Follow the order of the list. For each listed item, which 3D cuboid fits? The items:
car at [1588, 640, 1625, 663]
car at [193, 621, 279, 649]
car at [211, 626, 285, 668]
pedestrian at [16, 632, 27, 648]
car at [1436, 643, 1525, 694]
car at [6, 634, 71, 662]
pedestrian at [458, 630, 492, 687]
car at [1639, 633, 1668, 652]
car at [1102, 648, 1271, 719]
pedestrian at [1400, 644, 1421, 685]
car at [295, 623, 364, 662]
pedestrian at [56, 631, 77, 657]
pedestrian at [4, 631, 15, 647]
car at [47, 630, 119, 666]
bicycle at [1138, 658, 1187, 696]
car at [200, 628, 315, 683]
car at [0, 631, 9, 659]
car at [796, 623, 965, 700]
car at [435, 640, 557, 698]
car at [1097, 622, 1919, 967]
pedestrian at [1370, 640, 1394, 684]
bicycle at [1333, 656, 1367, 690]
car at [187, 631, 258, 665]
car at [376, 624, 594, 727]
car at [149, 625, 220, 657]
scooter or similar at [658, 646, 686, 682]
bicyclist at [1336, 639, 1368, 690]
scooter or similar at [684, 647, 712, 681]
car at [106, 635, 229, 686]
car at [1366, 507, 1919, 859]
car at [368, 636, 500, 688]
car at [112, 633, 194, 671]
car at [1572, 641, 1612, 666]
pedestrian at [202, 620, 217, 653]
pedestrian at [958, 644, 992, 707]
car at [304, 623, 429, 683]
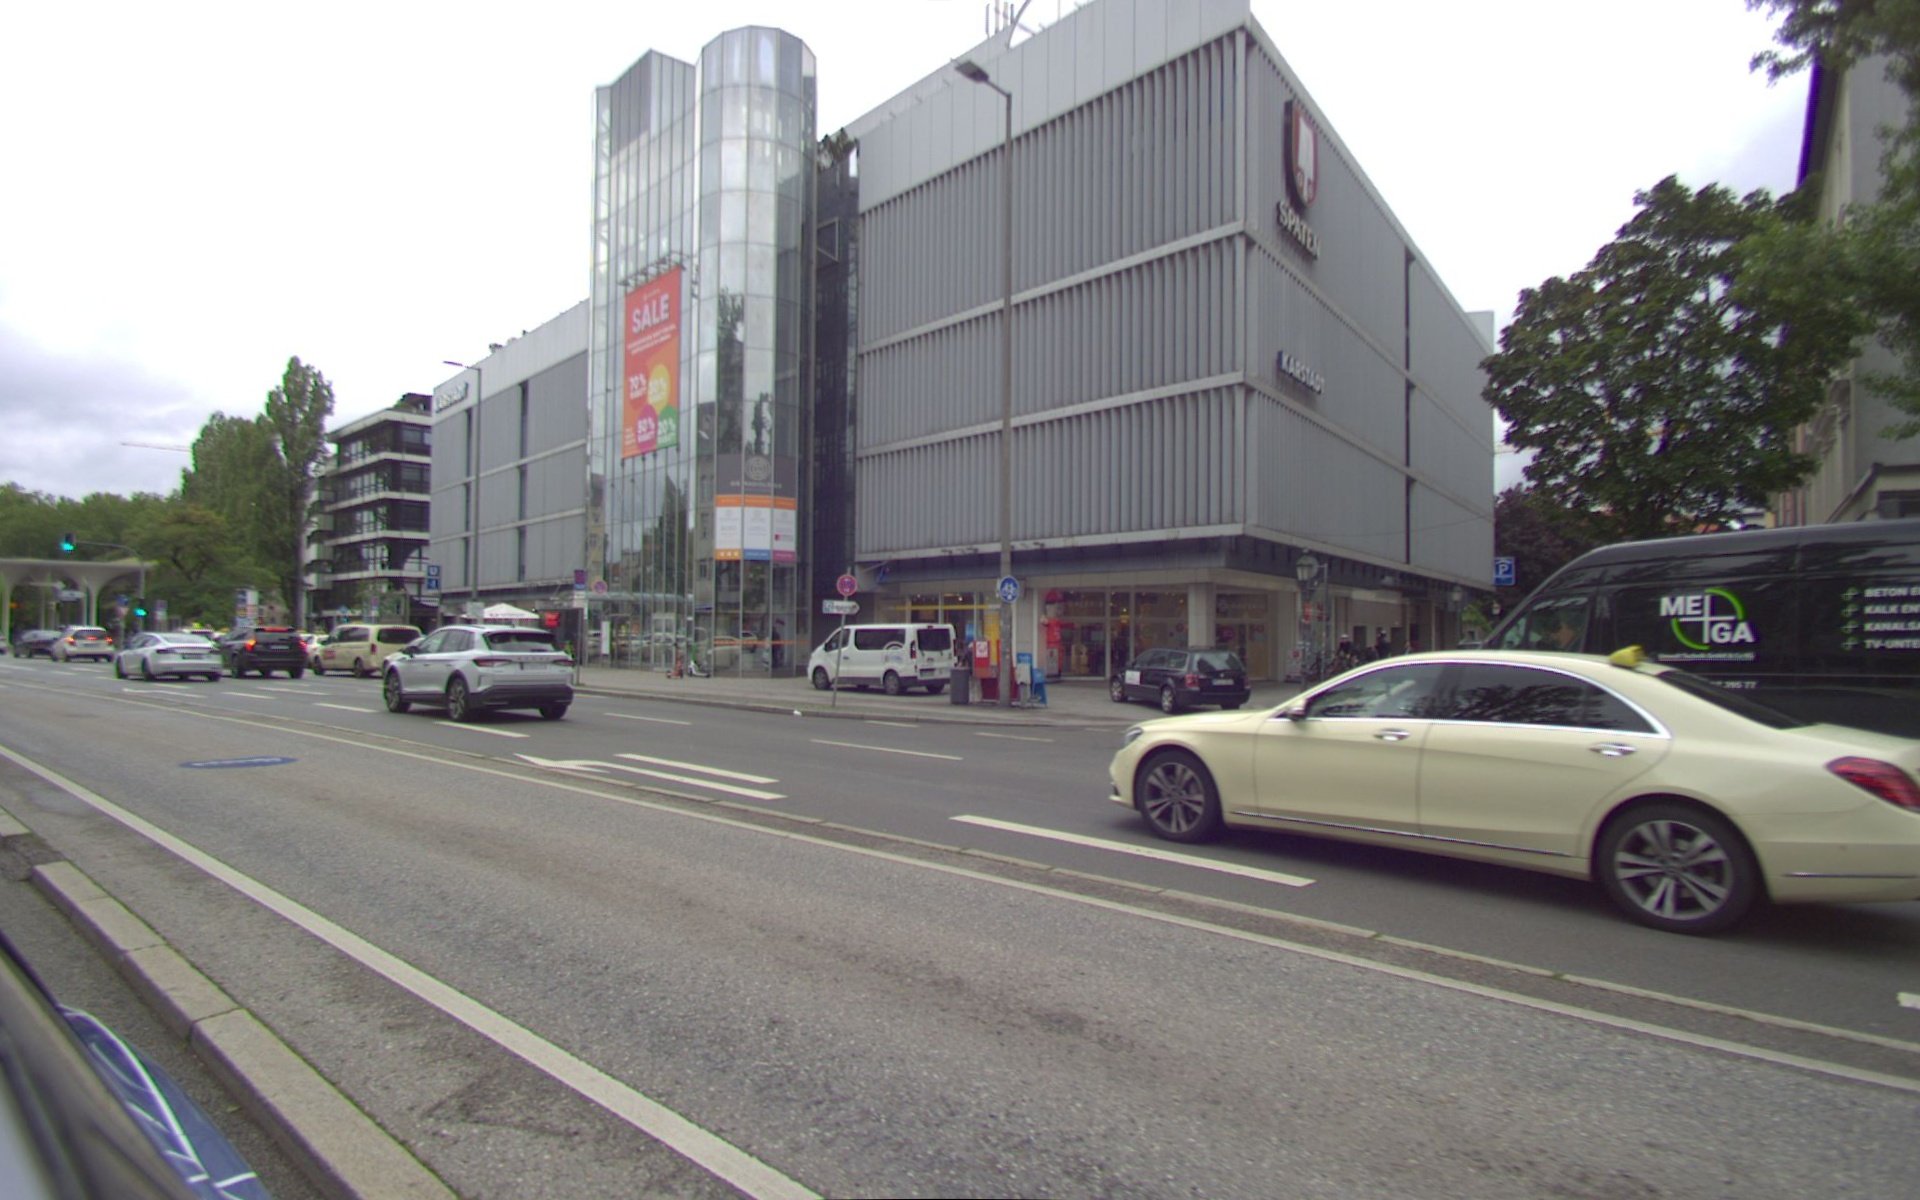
[{"bbox_3d":[47.980,3.803,75.052,1.850,1.674,4.181,-1,-3,39],"label":"car"},{"bbox_3d":[-40.590,1.987,56.744,4.266,1.522,1.847,-1,-2,21],"label":"car"},{"bbox_3d":[-31.060,2.029,44.100,1.863,1.711,4.385,4,-4,-44],"label":"car"},{"bbox_3d":[-78.436,3.375,84.576,0.590,1.348,0.543,-1,-3,34],"label":"pedestrian"},{"bbox_3d":[18.758,2.404,36.389,1.998,1.674,4.181,-1,-3,39],"label":"car"},{"bbox_3d":[-48.069,2.468,52.779,4.681,1.420,1.712,-2,-3,38],"label":"car"},{"bbox_3d":[-16.384,1.987,34.189,0.776,1.881,0.848,4,-4,-41],"label":"pedestrian"},{"bbox_3d":[64.503,3.967,94.144,1.850,1.674,4.181,-1,-3,39],"label":"car"},{"bbox_3d":[5.151,1.882,23.693,1.895,1.450,4.520,1,-3,-16],"label":"car"},{"bbox_3d":[17.006,2.432,38.163,0.612,1.517,0.558,-1,-3,36],"label":"pedestrian"},{"bbox_3d":[-27.567,1.858,44.205,1.751,1.628,4.003,3,-3,-44],"label":"car"},{"bbox_3d":[-55.358,2.709,62.717,0.752,1.563,0.638,0,-1,9],"label":"pedestrian"},{"bbox_3d":[-78.590,3.228,83.691,0.590,1.348,0.543,-1,-3,34],"label":"pedestrian"},{"bbox_3d":[-40.324,2.173,46.521,3.998,1.602,1.933,-2,-3,41],"label":"car"},{"bbox_3d":[6.019,2.265,30.051,0.556,1.091,1.801,-2,-4,43],"label":"bicycle"},{"bbox_3d":[-24.016,1.835,34.517,4.979,1.729,1.997,-1,-3,41],"label":"car"},{"bbox_3d":[-58.535,2.655,60.338,4.283,1.612,1.975,-1,-3,38],"label":"car"},{"bbox_3d":[-2.388,1.724,29.300,5.113,2.029,1.971,-2,-3,44],"label":"car"},{"bbox_3d":[-13.305,1.930,28.840,1.833,1.481,4.990,5,-5,-40],"label":"car"},{"bbox_3d":[3.636,1.013,6.984,5.198,1.601,1.971,-2,-5,45],"label":"car"},{"bbox_3d":[16.614,2.438,39.865,0.751,1.685,0.709,-1,-3,32],"label":"pedestrian"},{"bbox_3d":[13.131,2.441,34.022,1.663,1.088,0.354,3,-3,-42],"label":"bicycle"},{"bbox_3d":[-35.102,2.246,48.126,4.849,1.552,1.924,-2,-3,44],"label":"car"},{"bbox_3d":[-8.521,1.260,17.999,4.352,1.615,1.890,-1,-3,41],"label":"car"},{"bbox_3d":[-40.218,2.109,52.460,4.465,1.624,1.573,-1,-3,34],"label":"car"},{"bbox_3d":[-10.009,2.222,35.172,0.993,1.233,0.252,-1,-3,28],"label":"scooter or similar"},{"bbox_3d":[13.160,2.141,33.997,0.741,1.685,0.717,3,-3,-41],"label":"bicyclist"},{"bbox_3d":[-9.272,2.255,35.790,0.990,1.182,0.253,0,-2,21],"label":"scooter or similar"},{"bbox_3d":[-24.084,1.792,30.708,4.682,1.405,1.782,-1,-3,37],"label":"car"},{"bbox_3d":[7.154,0.691,9.448,2.141,2.625,6.079,2,-3,-34],"label":"car"},{"bbox_3d":[-17.213,1.975,33.044,5.080,1.564,1.958,-1,-3,39],"label":"car"},{"bbox_3d":[-33.485,2.132,41.978,3.995,1.477,1.766,-1,-3,38],"label":"car"},{"bbox_3d":[44.465,3.758,71.154,1.850,1.674,4.181,-1,-3,39],"label":"car"},{"bbox_3d":[-40.703,1.987,54.903,0.427,1.742,0.519,-1,-1,34],"label":"pedestrian"},{"bbox_3d":[0.370,1.821,24.743,0.655,1.506,0.540,-1,-3,39],"label":"pedestrian"},{"bbox_3d":[-21.513,1.864,36.608,5.313,2.029,1.975,-1,-3,38],"label":"car"}]
